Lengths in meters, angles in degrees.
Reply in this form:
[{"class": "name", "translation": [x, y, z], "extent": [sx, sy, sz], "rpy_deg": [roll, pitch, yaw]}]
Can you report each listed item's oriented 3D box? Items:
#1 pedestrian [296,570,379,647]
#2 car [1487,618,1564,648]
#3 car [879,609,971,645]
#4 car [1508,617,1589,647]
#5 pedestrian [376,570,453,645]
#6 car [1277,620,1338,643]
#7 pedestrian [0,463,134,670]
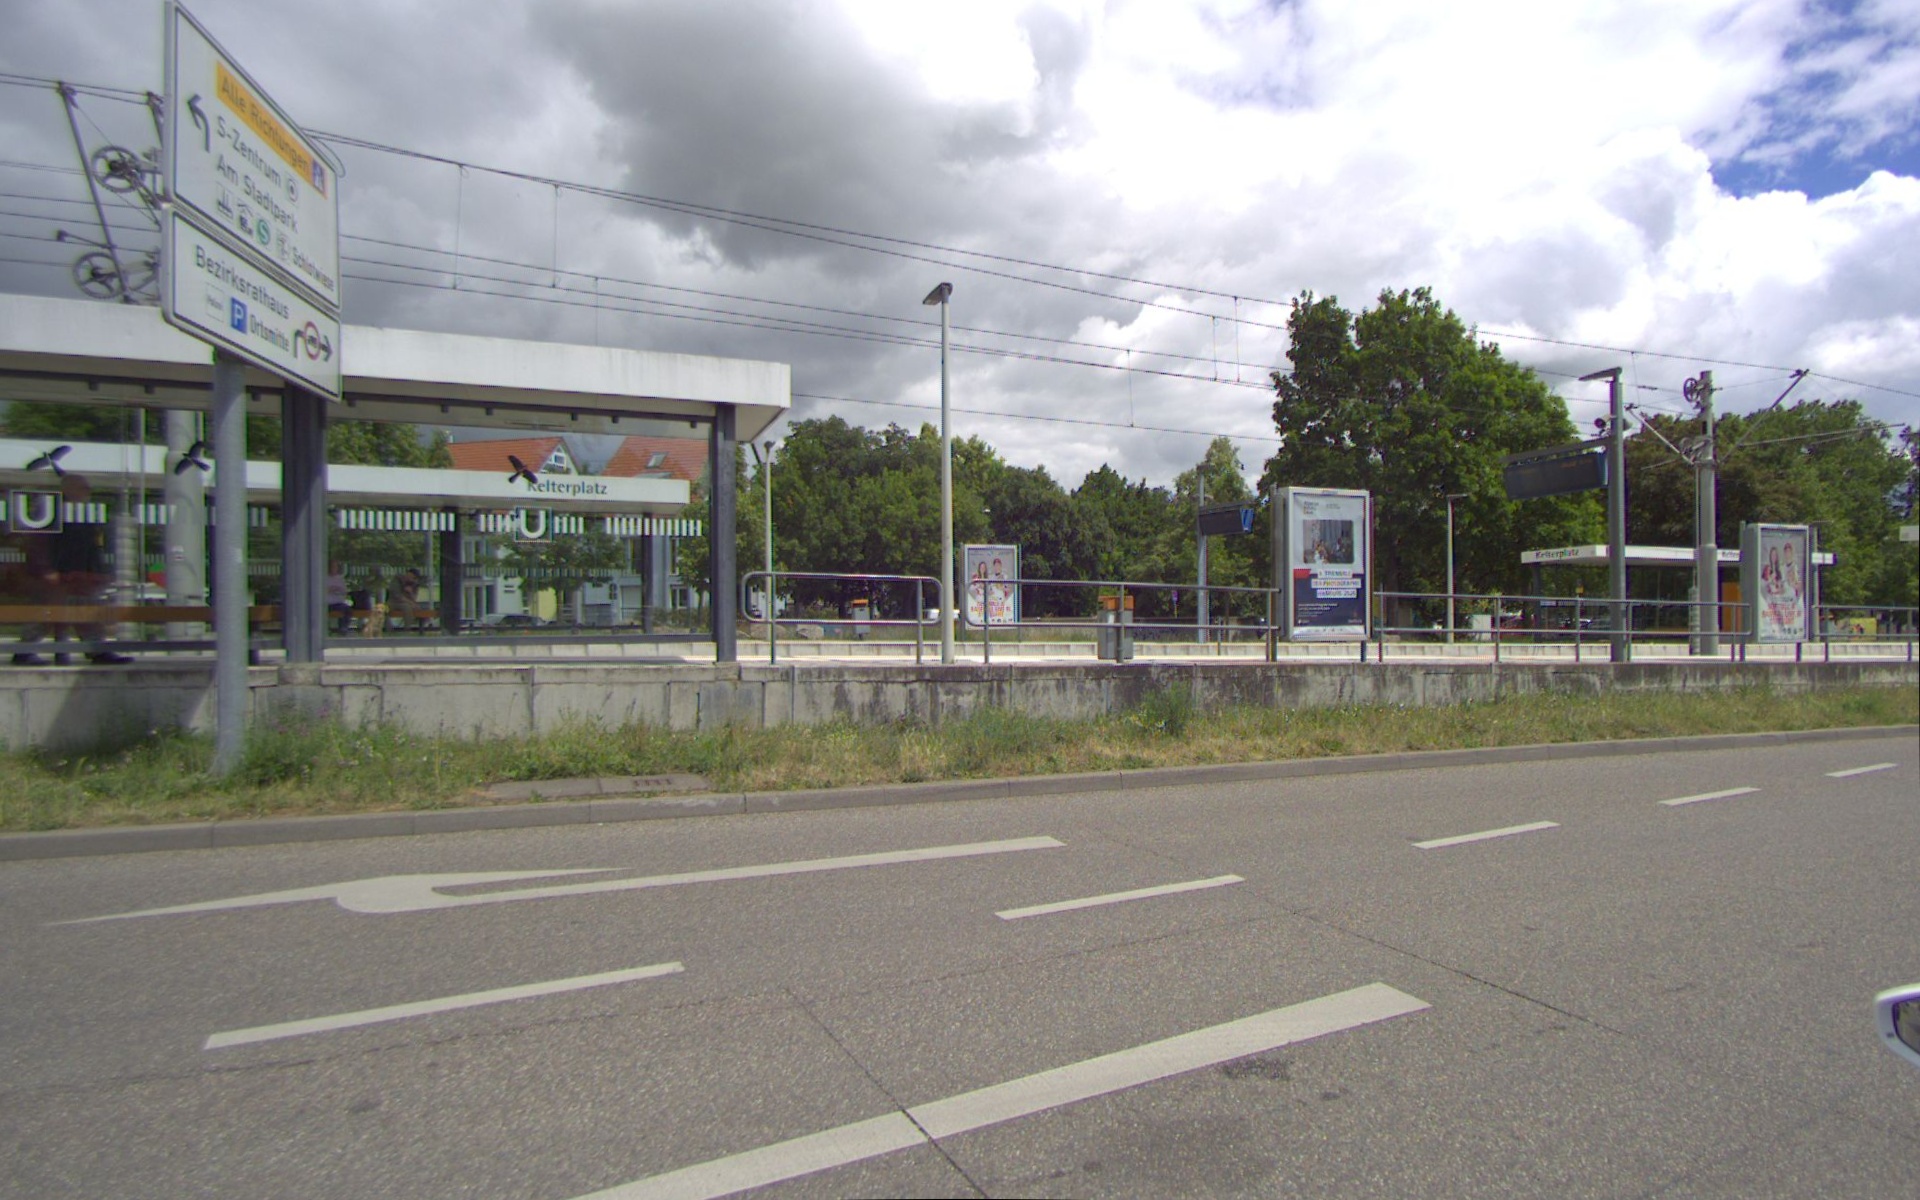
[{"class": "pedestrian", "translation": [-10.927, 0.161, 17.667], "extent": [1.096, 1.309, 0.756], "rpy_deg": [1, -1, -21]}, {"class": "car", "translation": [34.201, 1.953, 60.829], "extent": [2.023, 1.728, 3.628], "rpy_deg": [-1, 0, -23]}, {"class": "car", "translation": [-1.794, 1.358, 51.202], "extent": [4.339, 1.701, 1.940], "rpy_deg": [-1, 0, -21]}, {"class": "car", "translation": [36.207, 1.948, 61.911], "extent": [1.946, 1.706, 3.978], "rpy_deg": [-1, 0, -23]}, {"class": "pedestrian", "translation": [-9.831, 0.152, 18.142], "extent": [1.096, 1.309, 0.756], "rpy_deg": [1, -1, -21]}, {"class": "car", "translation": [24.106, 2.172, 69.761], "extent": [1.943, 1.511, 3.808], "rpy_deg": [-1, 0, -26]}, {"class": "pedestrian", "translation": [-7.601, -0.270, 8.549], "extent": [0.690, 1.678, 0.686], "rpy_deg": [-1, 0, -23]}]
